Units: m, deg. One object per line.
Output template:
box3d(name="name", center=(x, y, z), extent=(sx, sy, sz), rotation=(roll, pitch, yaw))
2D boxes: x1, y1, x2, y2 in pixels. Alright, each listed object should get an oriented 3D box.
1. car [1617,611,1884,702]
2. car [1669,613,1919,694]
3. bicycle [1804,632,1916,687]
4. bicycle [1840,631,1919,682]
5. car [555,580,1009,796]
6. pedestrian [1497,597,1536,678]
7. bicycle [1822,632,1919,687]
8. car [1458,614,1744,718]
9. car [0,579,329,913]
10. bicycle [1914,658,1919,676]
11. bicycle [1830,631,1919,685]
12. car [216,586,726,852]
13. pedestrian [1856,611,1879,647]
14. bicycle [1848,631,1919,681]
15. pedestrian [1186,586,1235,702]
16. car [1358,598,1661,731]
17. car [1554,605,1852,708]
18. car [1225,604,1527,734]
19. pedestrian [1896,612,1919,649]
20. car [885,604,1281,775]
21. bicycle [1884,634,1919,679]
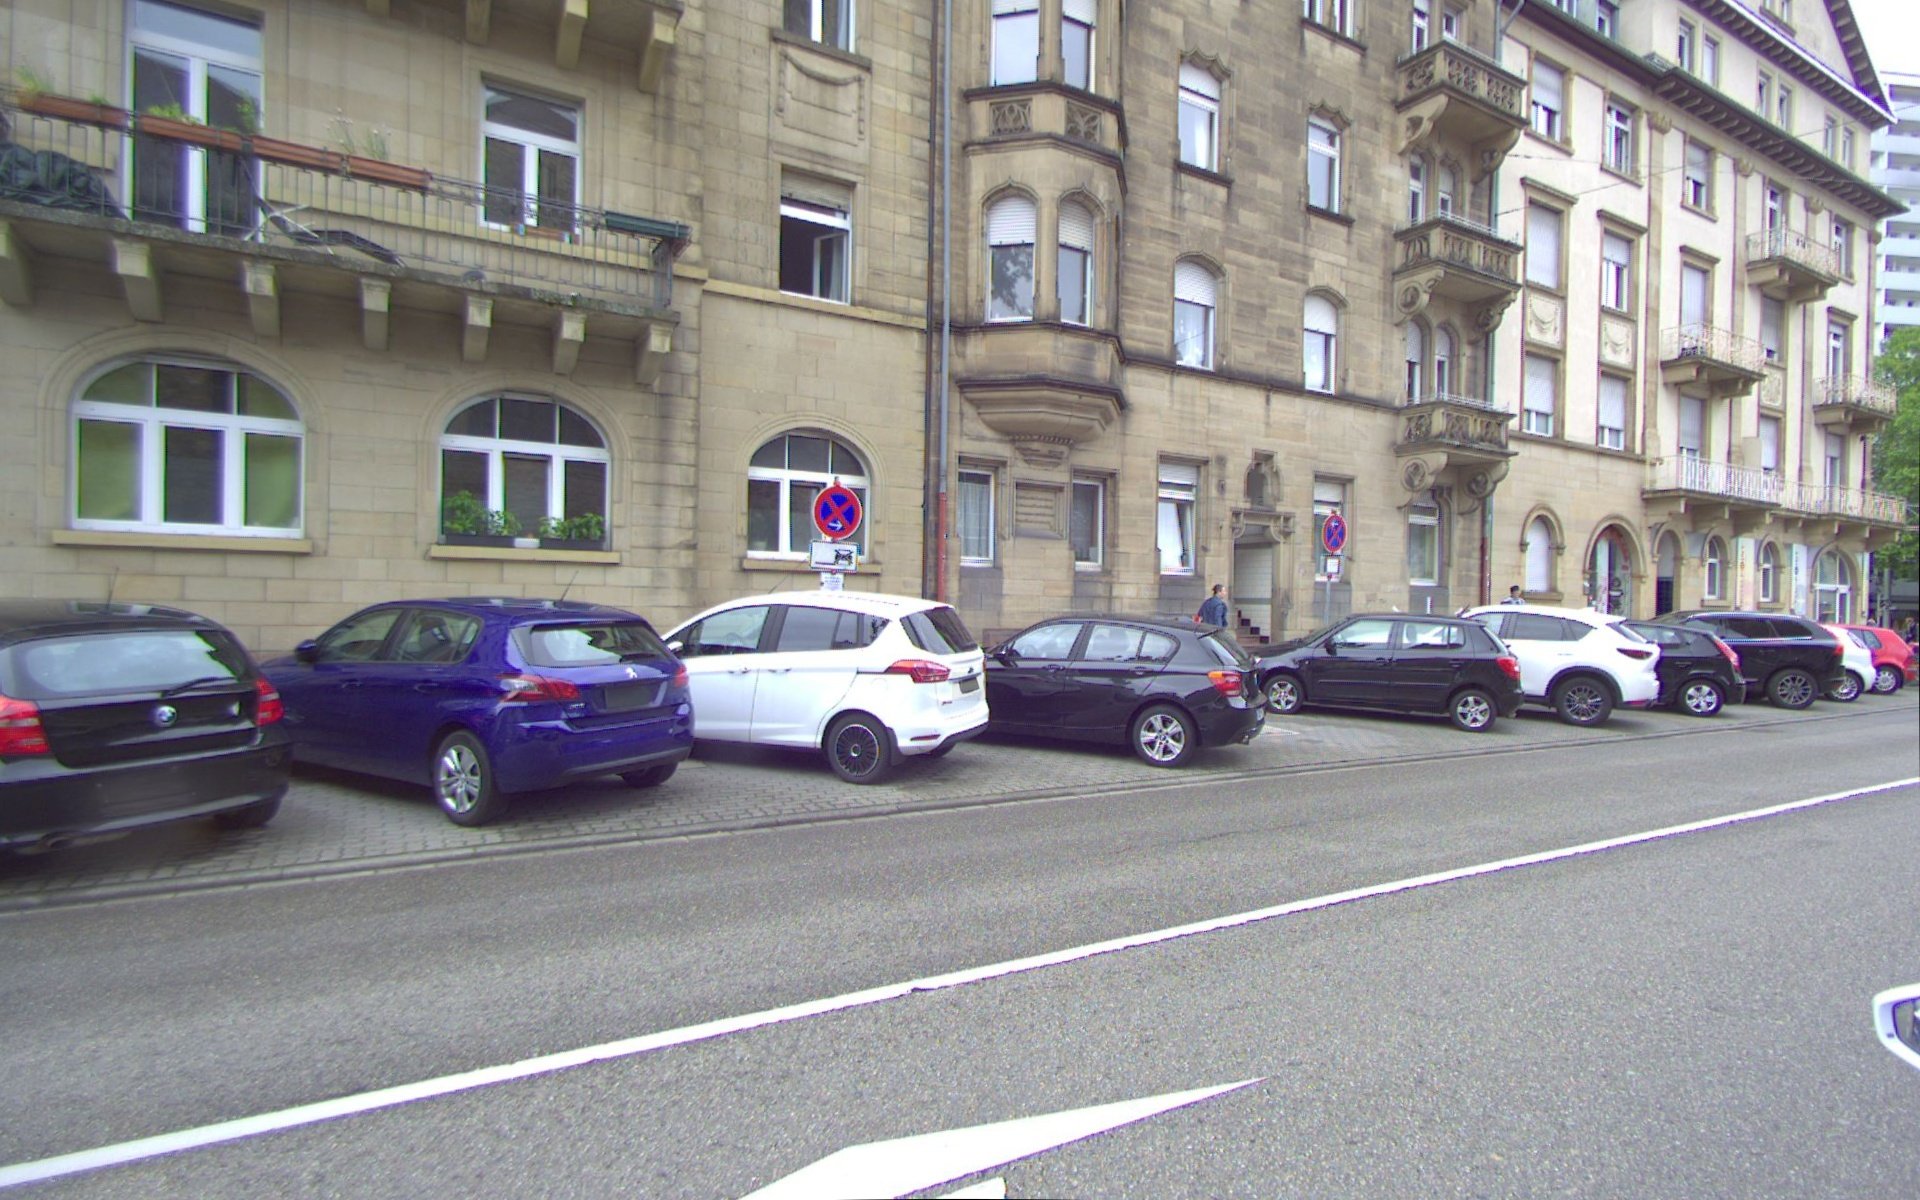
box3d(name="car", center=(16.010, 1.101, 20.570), extent=(3.920, 1.492, 1.564), rotation=(3, 2, 18))
box3d(name="car", center=(18.303, 1.140, 22.180), extent=(3.919, 1.492, 1.684), rotation=(2, 2, 12))
box3d(name="bicycle", center=(21.311, 1.396, 23.831), extent=(0.436, 1.050, 1.879), rotation=(1, 4, -26))
box3d(name="bicycle", center=(23.051, 1.398, 24.795), extent=(0.437, 1.050, 1.876), rotation=(0, 6, -31))
box3d(name="car", center=(-1.689, 0.683, 9.560), extent=(3.922, 1.575, 1.702), rotation=(3, 2, 22))
box3d(name="pedestrian", center=(12.509, 0.832, 22.588), extent=(0.544, 1.809, 0.564), rotation=(1, 0, -29))
box3d(name="bicycle", center=(22.048, 1.414, 24.163), extent=(0.437, 1.050, 1.876), rotation=(0, 6, -31))
box3d(name="car", center=(10.958, 1.072, 17.516), extent=(3.923, 1.514, 1.731), rotation=(2, 0, 23))
box3d(name="car", center=(-5.985, 0.669, 6.293), extent=(3.927, 1.457, 1.730), rotation=(3, 2, 28))
box3d(name="bicycle", center=(25.347, 1.799, 25.169), extent=(1.017, 0.451, 1.876), rotation=(-1, 6, -31))
box3d(name="bicycle", center=(22.497, 1.406, 24.446), extent=(0.437, 1.050, 1.876), rotation=(0, 6, -31))
box3d(name="car", center=(-3.853, 0.708, 7.829), extent=(3.682, 1.465, 1.820), rotation=(3, 2, 30))
box3d(name="pedestrian", center=(45.216, 1.444, 50.043), extent=(0.718, 1.795, 0.671), rotation=(1, 0, -30))
box3d(name="bicycle", center=(23.574, 1.428, 25.147), extent=(0.437, 1.050, 1.876), rotation=(0, 6, -31))
box3d(name="pedestrian", center=(4.396, 0.756, 17.646), extent=(0.544, 1.984, 0.616), rotation=(1, 0, -29))
box3d(name="car", center=(8.533, 0.899, 15.705), extent=(3.935, 1.746, 1.835), rotation=(2, 0, 36))
box3d(name="car", center=(13.849, 0.998, 19.013), extent=(4.141, 1.674, 1.732), rotation=(2, 0, 18))
box3d(name="car", center=(5.854, 0.906, 14.415), extent=(3.738, 1.517, 1.569), rotation=(3, 1, 22))
box3d(name="pedestrian", center=(46.510, 1.506, 49.298), extent=(0.718, 1.795, 0.671), rotation=(1, 0, -30))
box3d(name="car", center=(1.322, 0.842, 10.923), extent=(3.924, 1.436, 1.660), rotation=(2, 1, 25))
box3d(name="bicycle", center=(24.310, 1.477, 24.932), extent=(0.437, 1.050, 1.876), rotation=(0, 6, -31))
